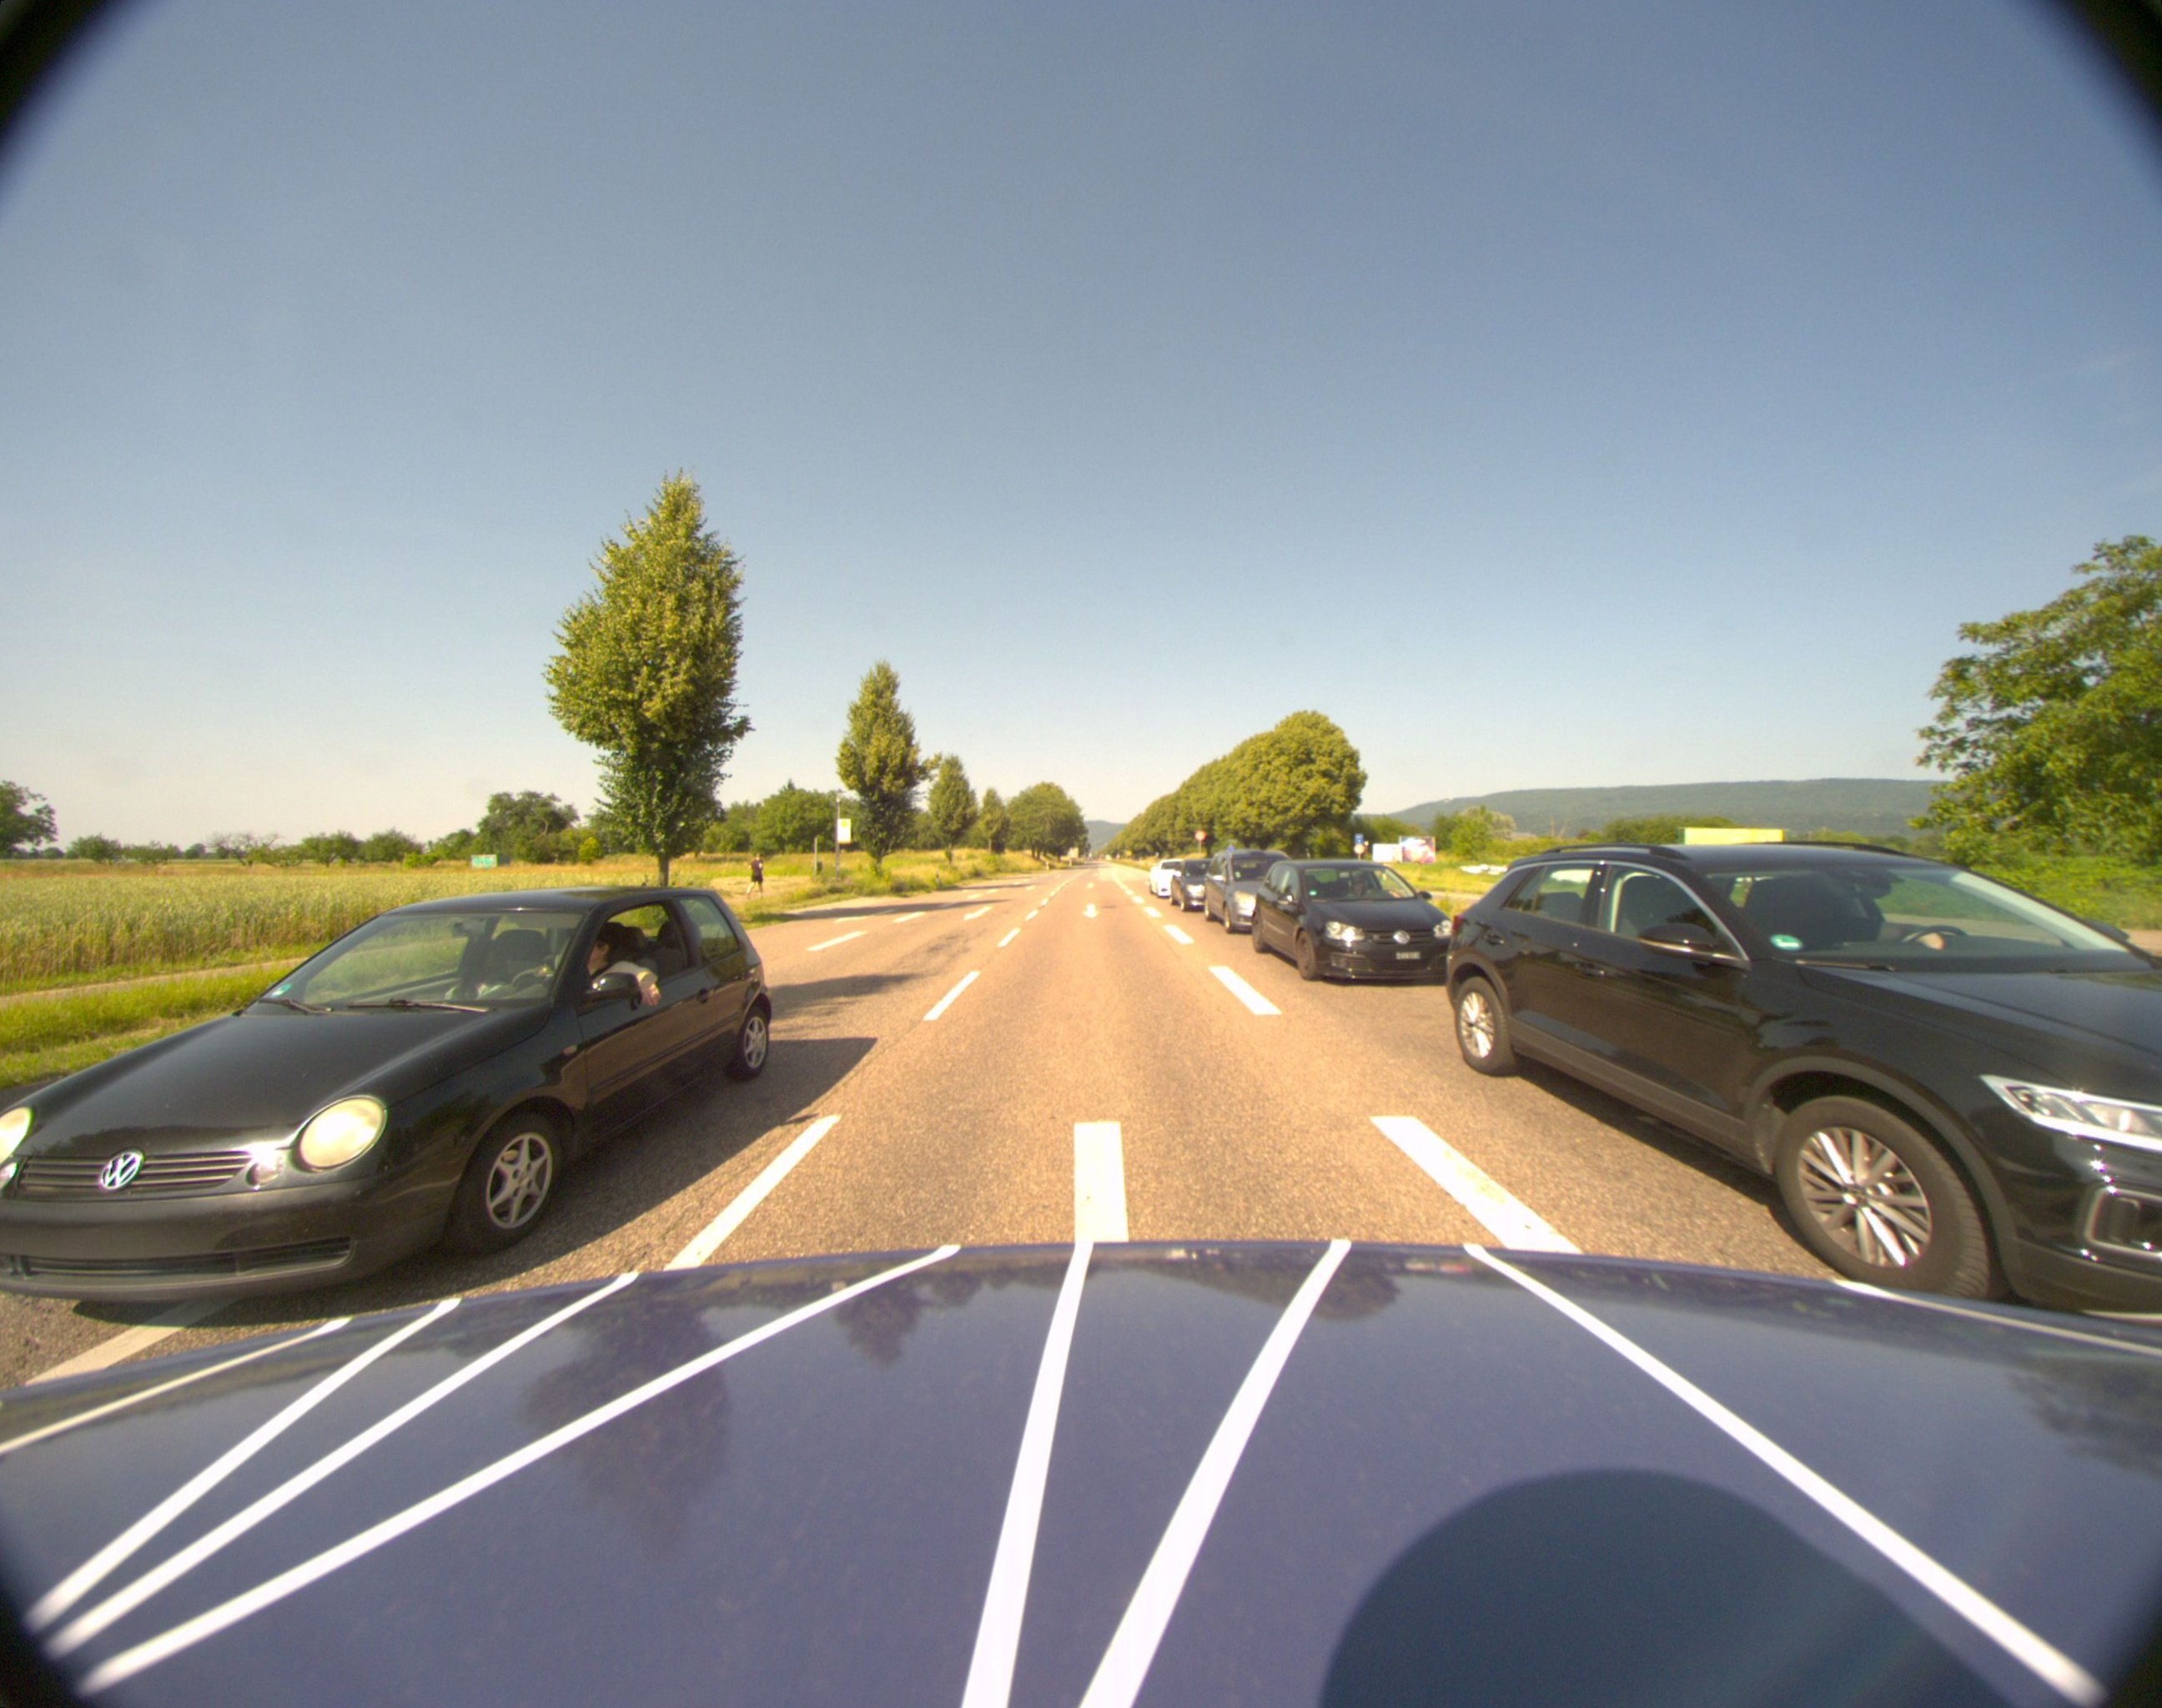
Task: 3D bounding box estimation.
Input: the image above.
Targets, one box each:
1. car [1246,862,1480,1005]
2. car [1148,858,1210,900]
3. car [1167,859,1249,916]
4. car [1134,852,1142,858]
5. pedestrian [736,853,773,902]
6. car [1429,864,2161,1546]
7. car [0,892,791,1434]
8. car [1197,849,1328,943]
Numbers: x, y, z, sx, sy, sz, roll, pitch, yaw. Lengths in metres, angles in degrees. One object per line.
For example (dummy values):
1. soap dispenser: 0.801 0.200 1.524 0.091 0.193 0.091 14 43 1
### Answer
1. car: 3.459 0.874 10.179 1.670 1.466 4.098 -1 0 1
2. car: 3.632 0.892 28.929 1.808 1.417 4.641 -1 0 1
3. car: 3.563 0.894 22.003 1.719 1.402 4.355 -1 0 1
4. car: 16.522 0.288 220.427 1.998 1.830 4.953 2 0 1
5. pedestrian: -12.443 0.895 29.019 0.904 1.828 1.194 0 0 -1
6. car: 3.444 0.854 3.638 1.733 1.538 4.098 -1 0 1
7. car: -3.099 1.034 4.102 1.629 1.425 3.622 -2 0 0
8. car: 3.609 0.758 15.910 1.745 1.662 4.357 -1 0 1
